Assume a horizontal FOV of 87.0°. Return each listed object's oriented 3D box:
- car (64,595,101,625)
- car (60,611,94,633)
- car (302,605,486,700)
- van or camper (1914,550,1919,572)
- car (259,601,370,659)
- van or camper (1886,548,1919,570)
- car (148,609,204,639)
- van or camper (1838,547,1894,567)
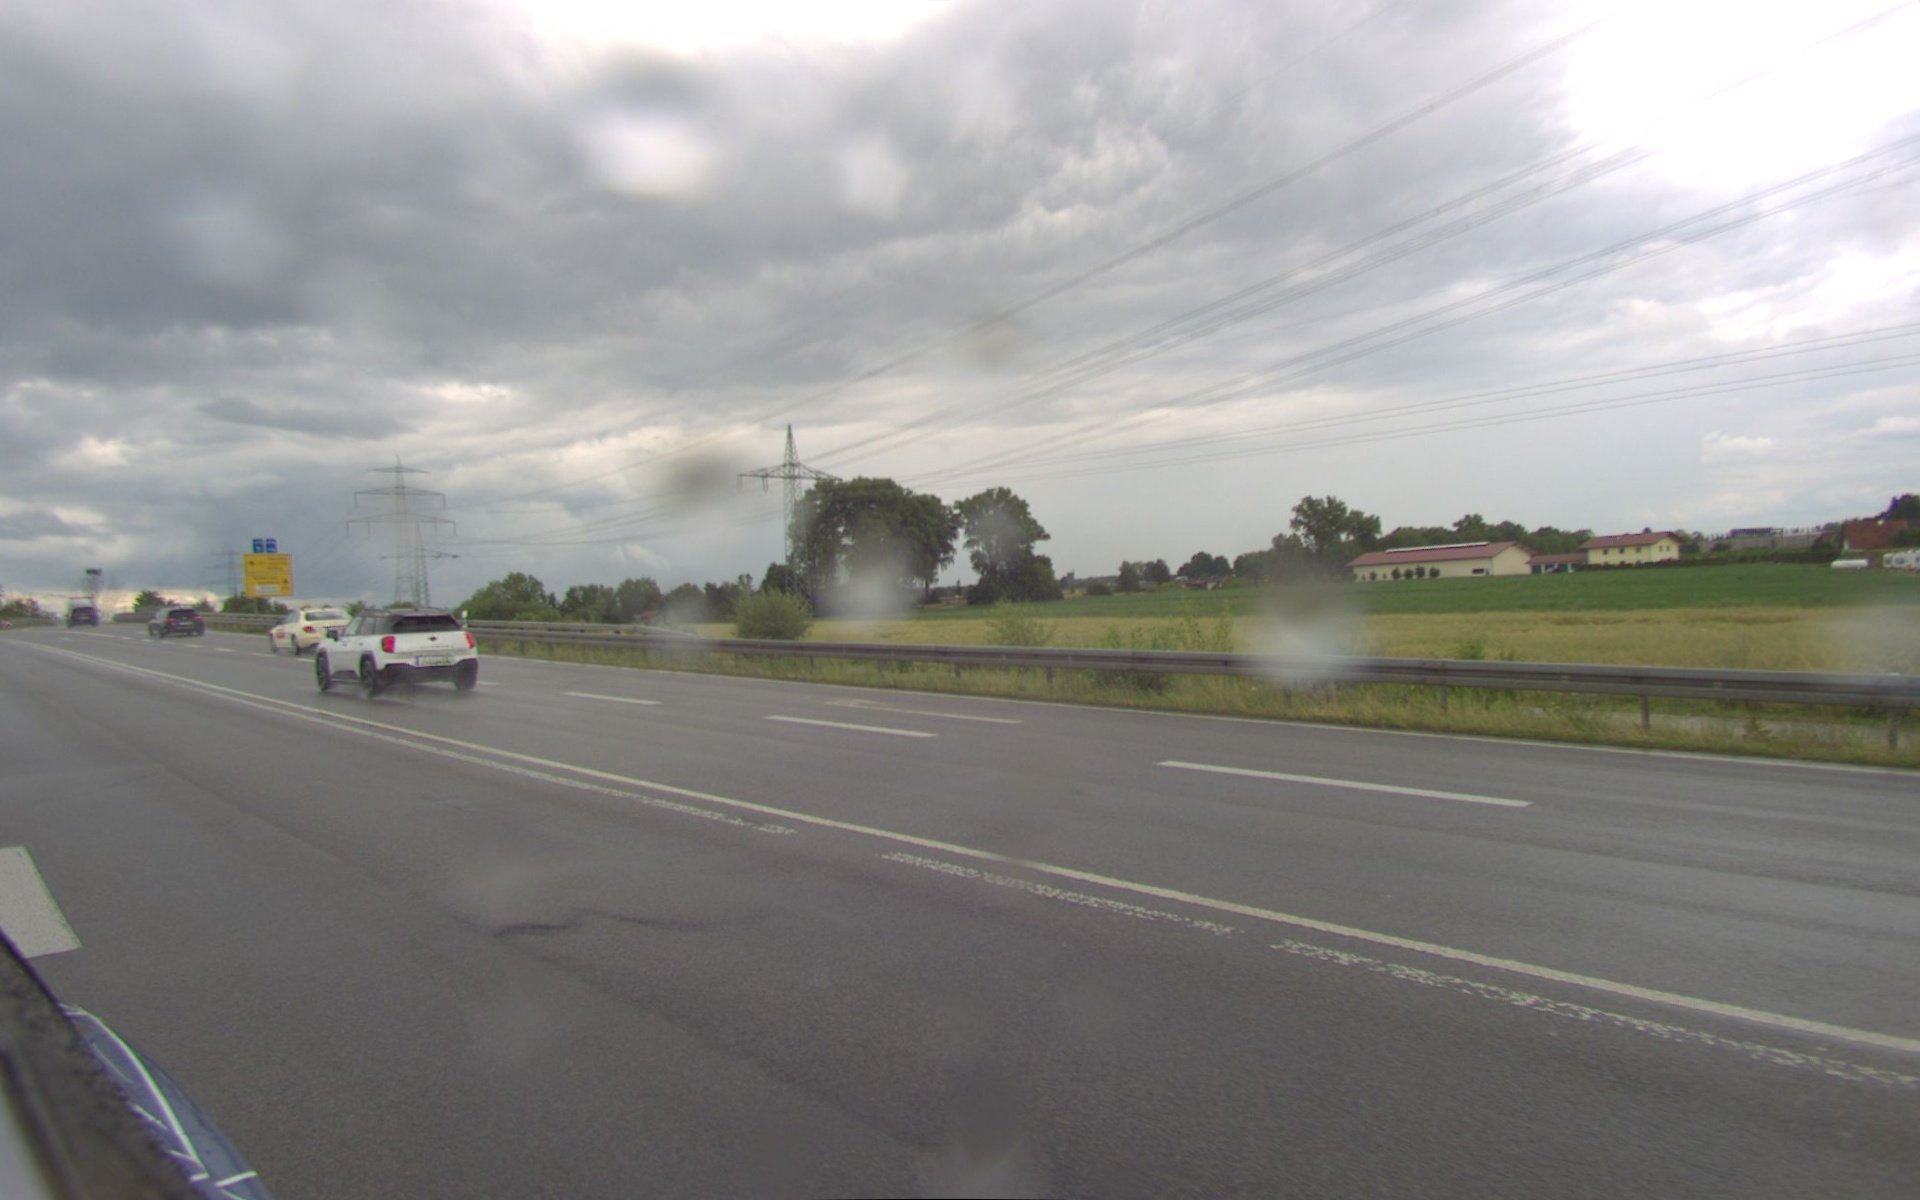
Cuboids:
[{"bbox_3d":[-83.389,0.968,96.183,5.460,2.674,1.949,-1,3,43],"label":"car"},{"bbox_3d":[-69.729,1.728,79.870,4.639,1.622,1.688,-1,1,45],"label":"car"},{"bbox_3d":[-10.433,0.880,18.522,4.210,1.511,1.747,-1,0,44],"label":"car"},{"bbox_3d":[118.975,-4.734,122.886,2.310,2.651,5.682,-2,2,19],"label":"van or camper"},{"bbox_3d":[-21.312,0.950,33.336,4.646,1.672,1.922,-1,2,43],"label":"car"},{"bbox_3d":[126.561,-5.490,133.750,5.690,2.651,2.308,-2,2,28],"label":"van or camper"},{"bbox_3d":[-40.650,1.215,52.434,1.750,1.437,4.738,-2,1,-44],"label":"car"},{"bbox_3d":[134.861,-6.396,150.733,5.690,2.651,2.308,-2,2,28],"label":"van or camper"}]
